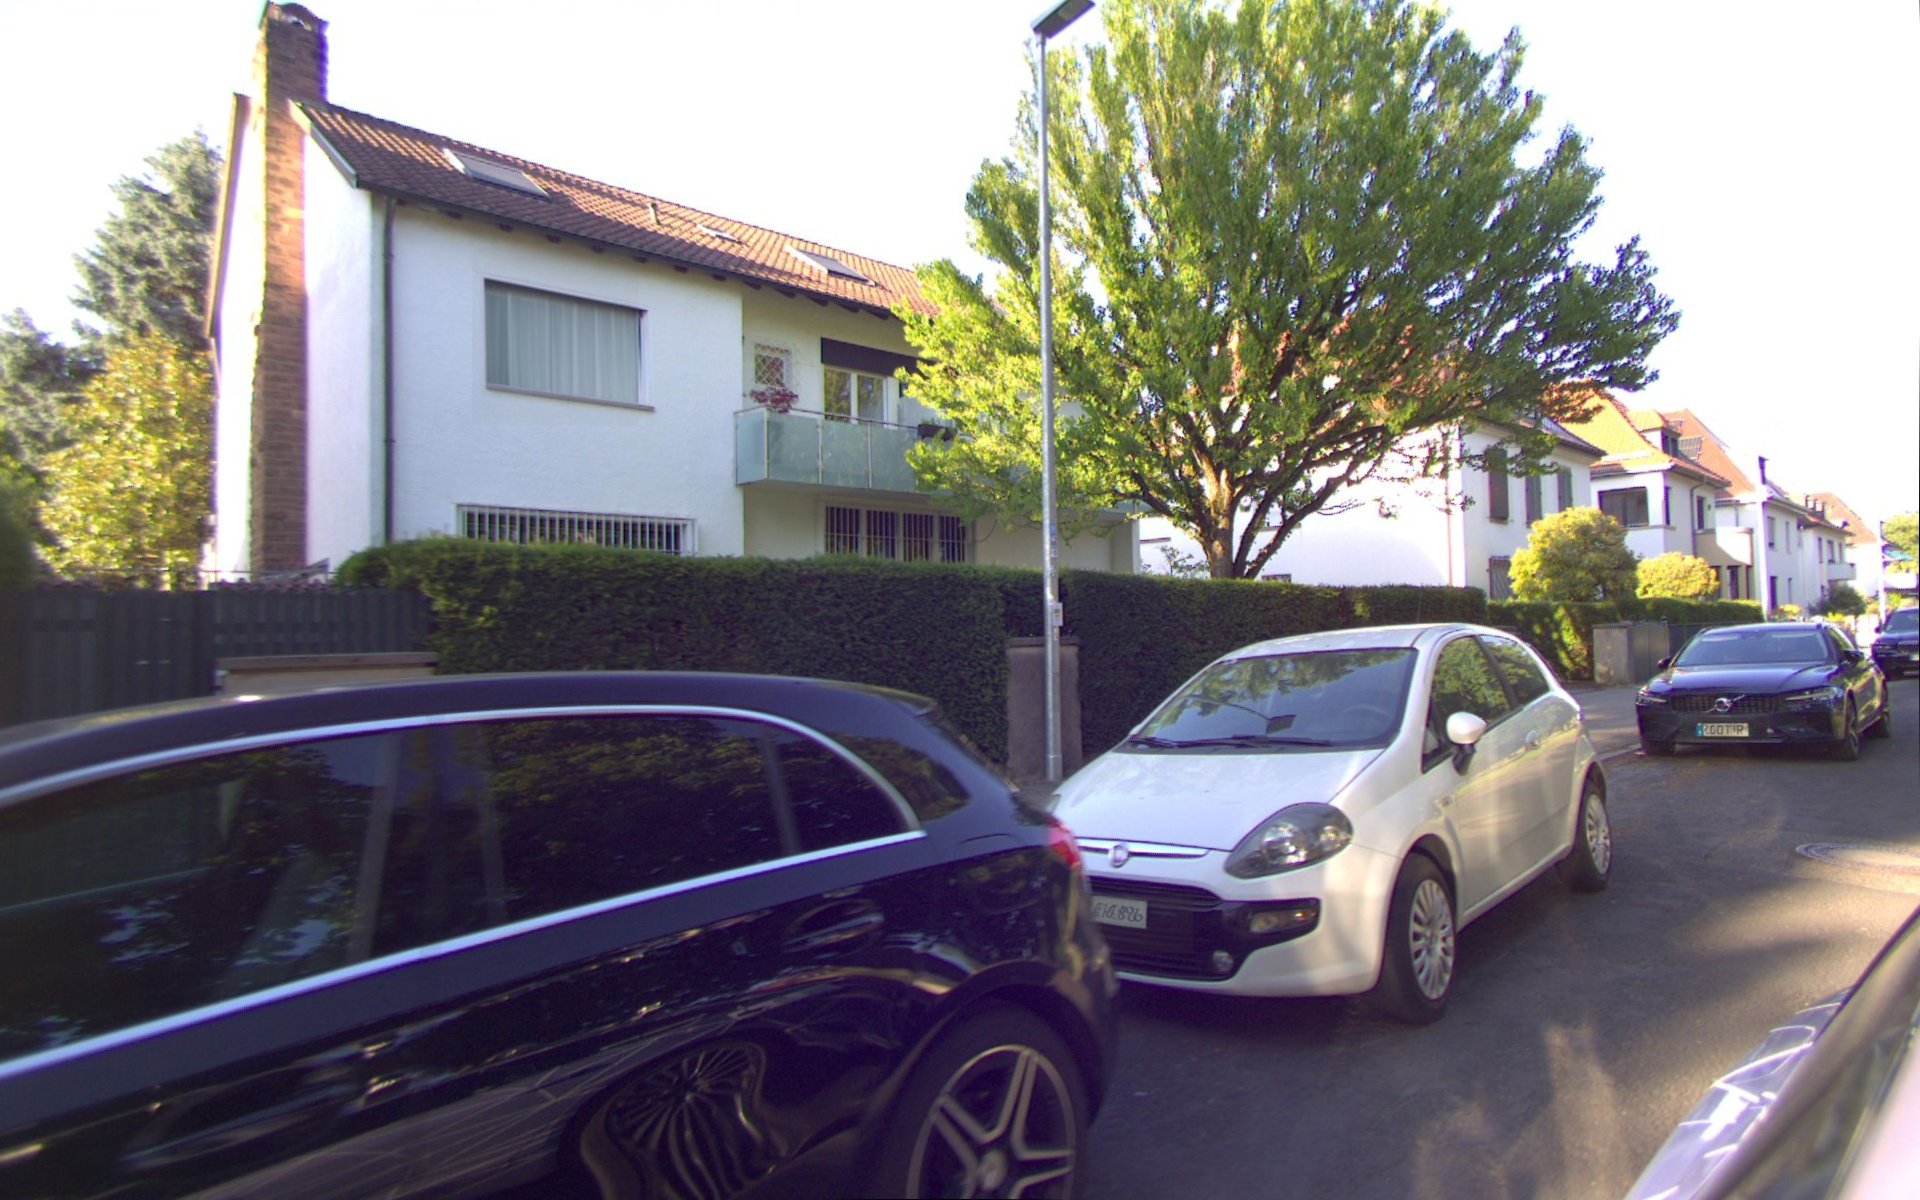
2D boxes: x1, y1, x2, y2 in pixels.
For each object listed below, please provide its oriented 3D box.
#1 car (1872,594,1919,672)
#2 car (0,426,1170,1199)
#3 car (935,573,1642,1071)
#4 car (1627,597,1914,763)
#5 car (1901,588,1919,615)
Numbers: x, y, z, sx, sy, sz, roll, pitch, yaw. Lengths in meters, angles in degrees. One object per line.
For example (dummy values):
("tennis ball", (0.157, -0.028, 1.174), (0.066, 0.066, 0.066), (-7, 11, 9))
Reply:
("car", (24.091, 0.701, 24.814), (4.781, 1.760, 1.995), (-1, -5, -43))
("car", (-1.630, 0.618, 1.699), (4.217, 1.496, 1.749), (0, -4, -44))
("car", (1.894, 0.754, 5.069), (1.690, 1.503, 3.865), (-9, -6, 44))
("car", (9.526, 0.795, 11.747), (4.594, 1.511, 1.795), (-1, -3, -42))
("car", (71.538, 0.077, 73.895), (1.967, 1.953, 3.988), (0, -3, -44))
